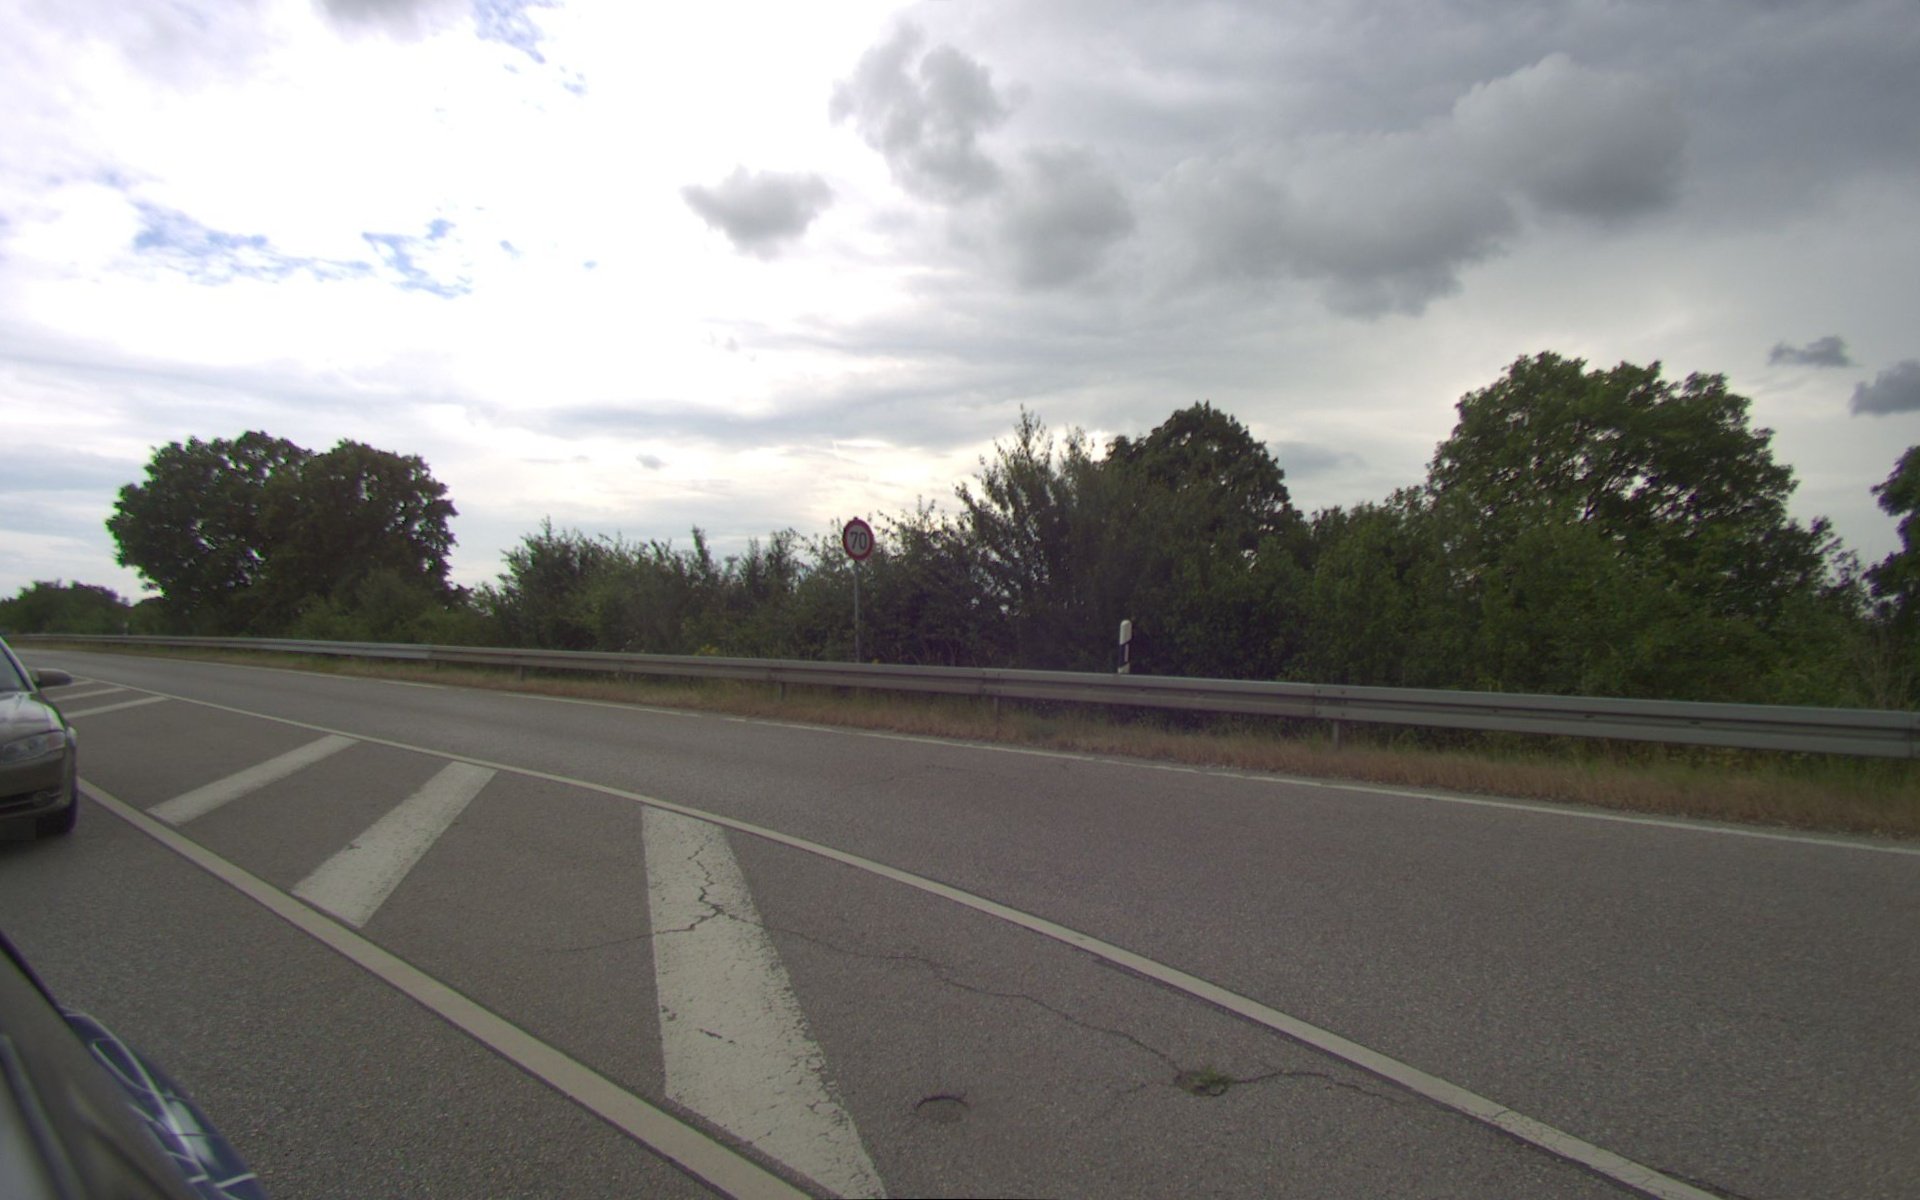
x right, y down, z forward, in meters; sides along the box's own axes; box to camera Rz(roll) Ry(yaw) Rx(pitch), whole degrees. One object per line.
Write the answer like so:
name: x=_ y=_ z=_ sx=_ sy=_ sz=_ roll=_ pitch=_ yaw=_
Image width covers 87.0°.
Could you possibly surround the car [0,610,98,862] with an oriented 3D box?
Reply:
car: x=-7.391 y=0.832 z=6.884 sx=4.032 sy=1.461 sz=1.761 roll=-2 pitch=-1 yaw=41
